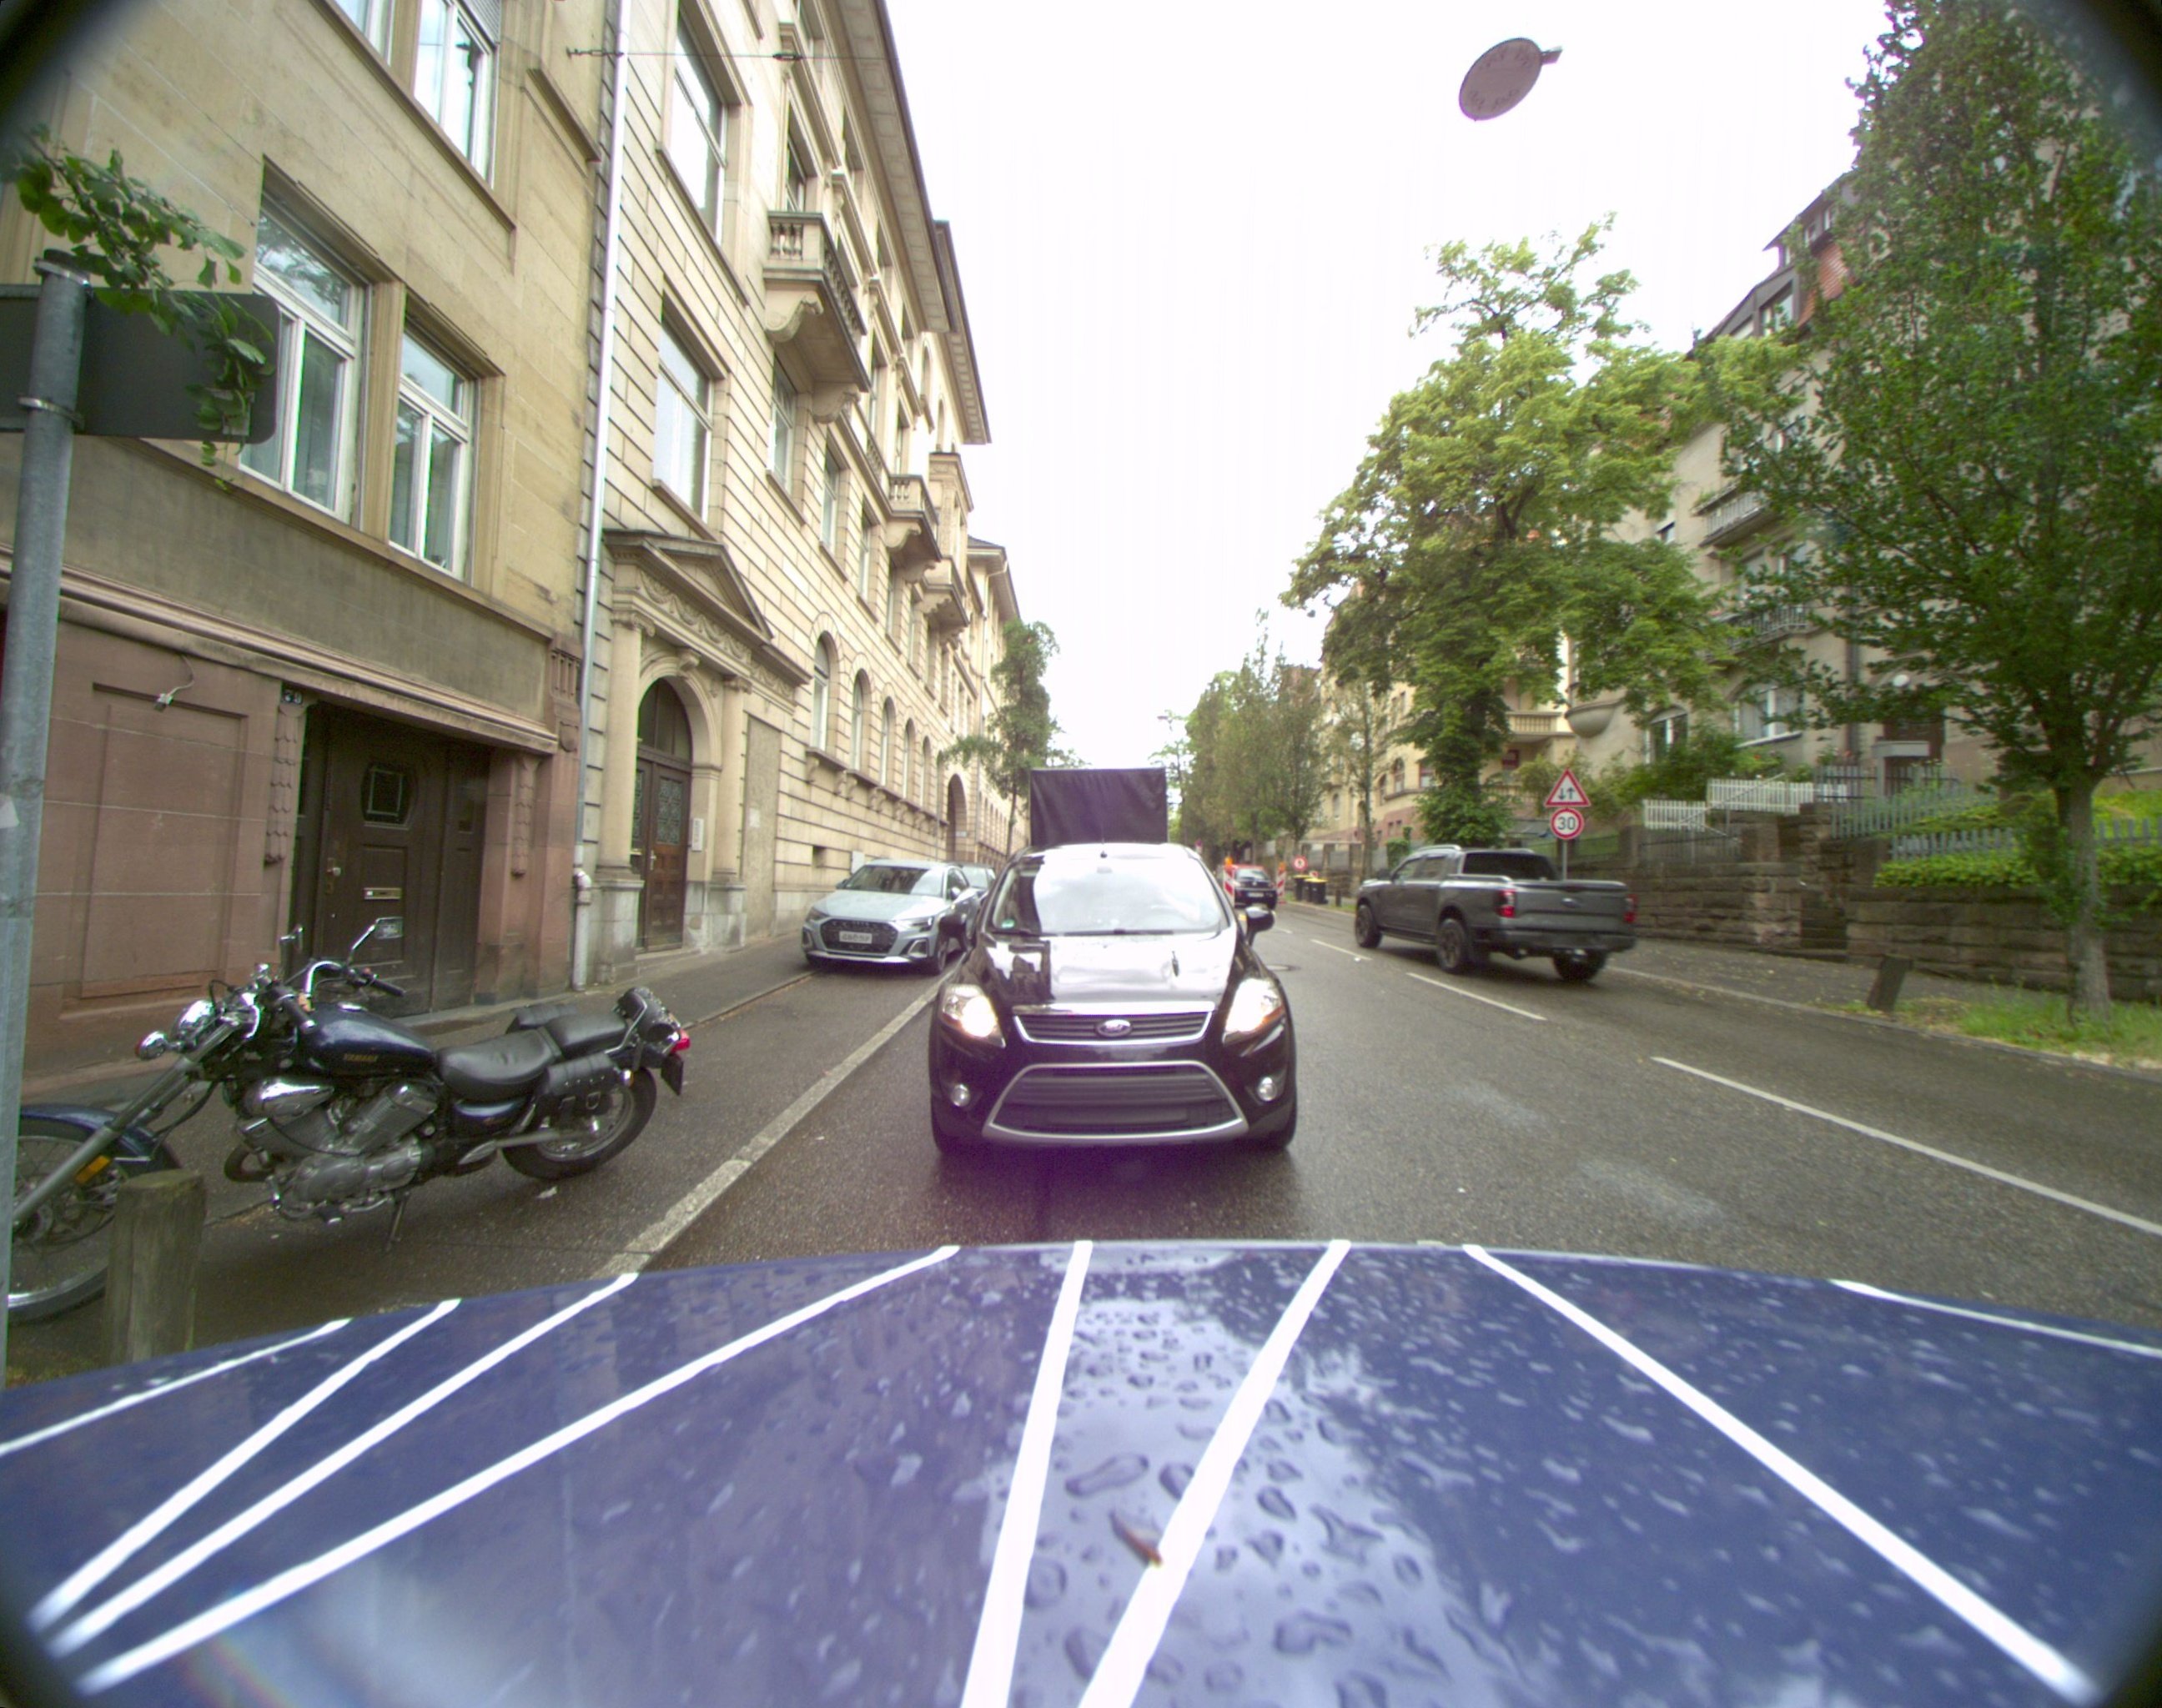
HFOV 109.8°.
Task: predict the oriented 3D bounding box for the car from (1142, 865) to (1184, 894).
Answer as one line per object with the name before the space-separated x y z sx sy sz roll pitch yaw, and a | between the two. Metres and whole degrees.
car | 4.520 1.383 42.457 1.910 1.502 4.318 1 0 1

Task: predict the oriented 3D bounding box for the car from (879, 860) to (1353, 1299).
car | 0.190 0.891 5.193 1.823 1.662 4.522 0 0 1

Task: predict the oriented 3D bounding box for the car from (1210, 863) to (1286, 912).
car | 5.668 1.102 26.166 1.670 1.463 3.656 3 0 -1

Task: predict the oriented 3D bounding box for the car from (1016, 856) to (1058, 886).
car | -2.402 0.893 42.468 1.910 1.502 4.318 3 0 1

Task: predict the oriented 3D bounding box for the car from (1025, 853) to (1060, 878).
car | -2.527 0.753 50.599 1.910 1.502 4.318 3 0 1

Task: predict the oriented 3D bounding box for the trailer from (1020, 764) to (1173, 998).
trailer | 0.187 0.302 11.344 1.783 2.744 4.816 0 1 0

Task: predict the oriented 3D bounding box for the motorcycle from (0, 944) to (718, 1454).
motorcycle | -2.611 1.012 2.729 0.523 1.236 2.282 3 -1 39

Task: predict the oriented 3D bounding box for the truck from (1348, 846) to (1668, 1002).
truck | 6.120 0.873 11.856 2.075 1.825 5.154 2 0 1

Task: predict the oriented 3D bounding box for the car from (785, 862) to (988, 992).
car | -2.603 0.901 11.216 1.794 1.444 4.039 3 0 1

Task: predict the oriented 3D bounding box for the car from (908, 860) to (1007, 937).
car | -2.601 0.890 16.607 1.495 1.440 3.181 3 0 1
